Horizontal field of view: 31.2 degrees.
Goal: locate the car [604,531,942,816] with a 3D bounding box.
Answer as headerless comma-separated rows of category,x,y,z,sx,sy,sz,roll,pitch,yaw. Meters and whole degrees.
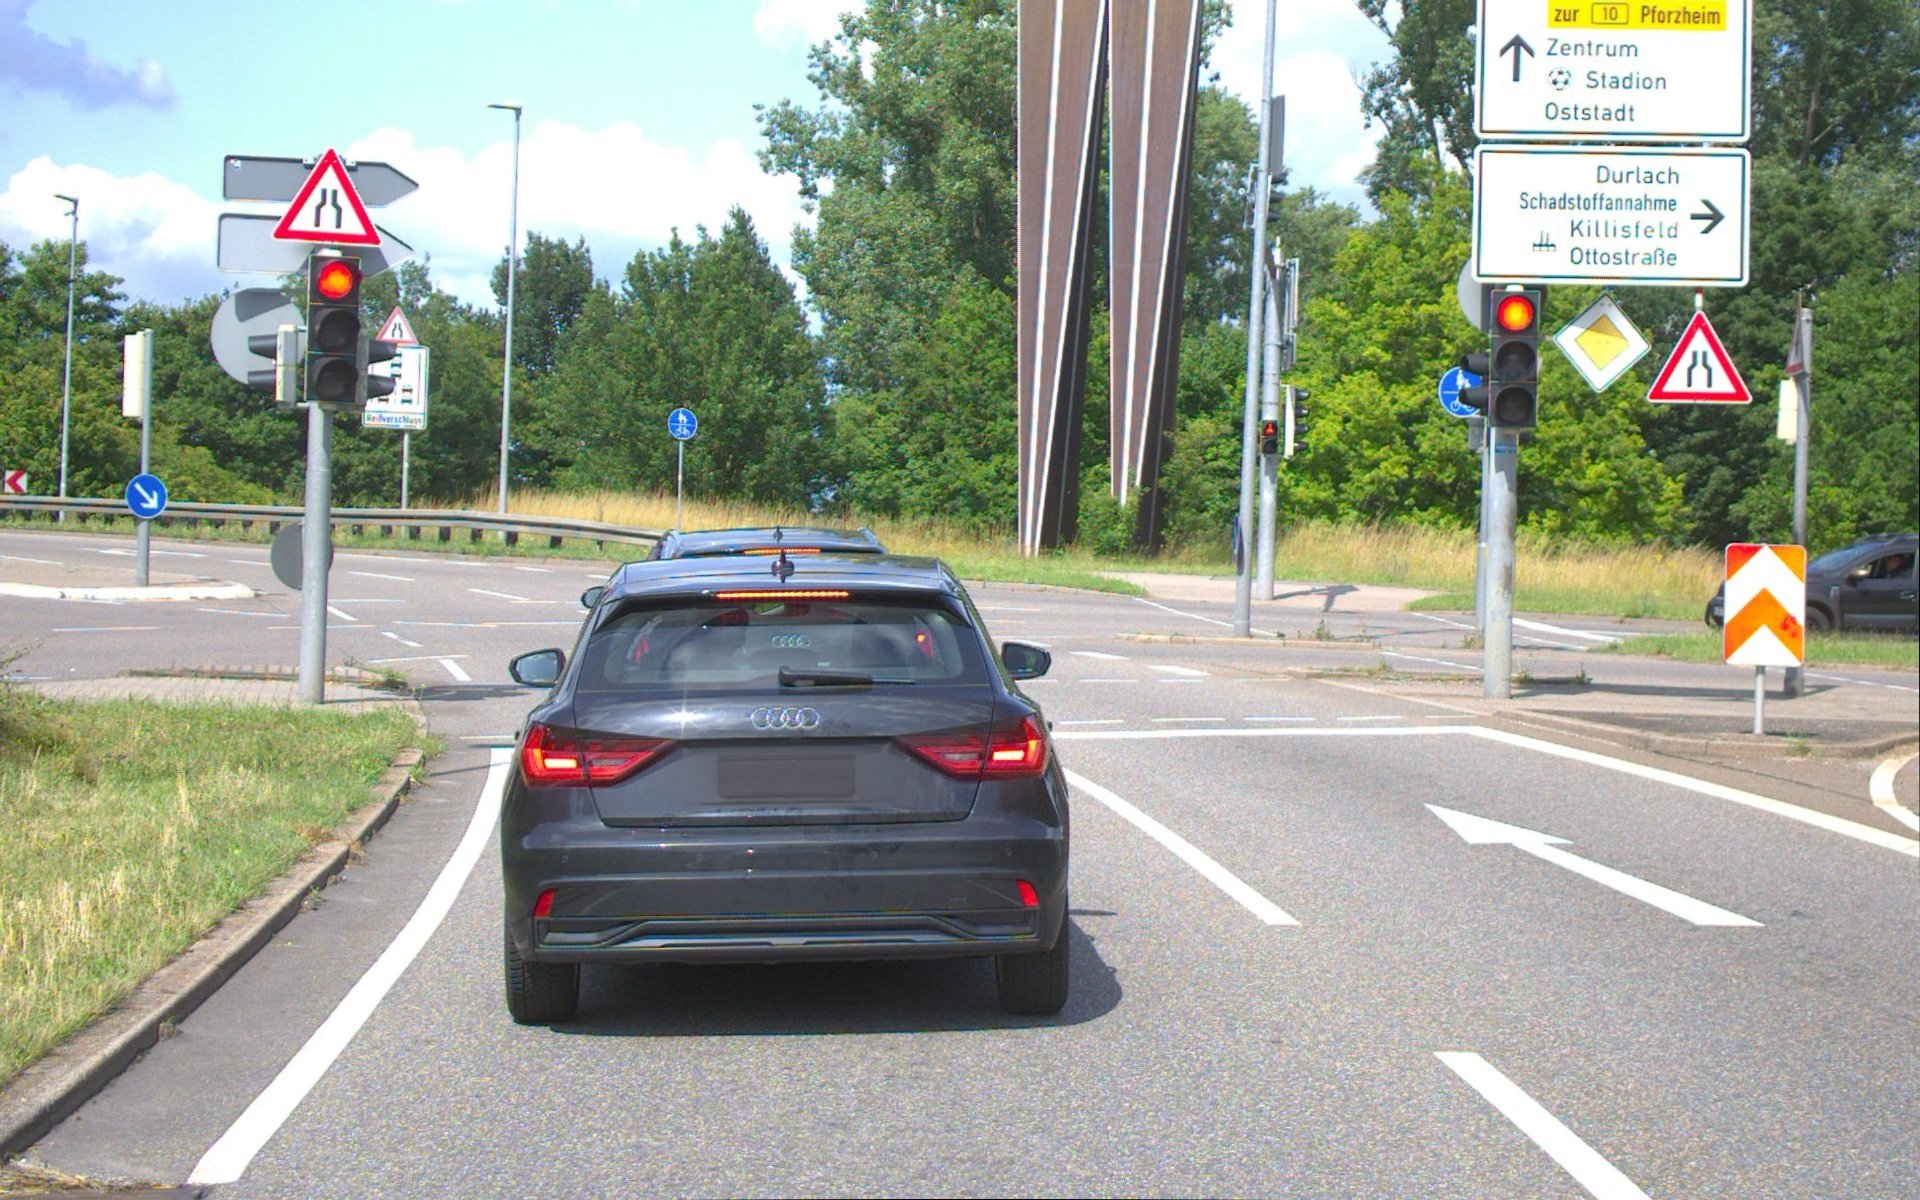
car,-1.150,0.337,19.569,1.726,1.418,3.845,-1,2,-6

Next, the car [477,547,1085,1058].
car,-0.576,0.548,11.829,1.726,1.399,4.001,0,2,-2

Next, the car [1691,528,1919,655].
car,11.784,-0.104,44.360,4.268,1.539,1.737,1,1,-2
